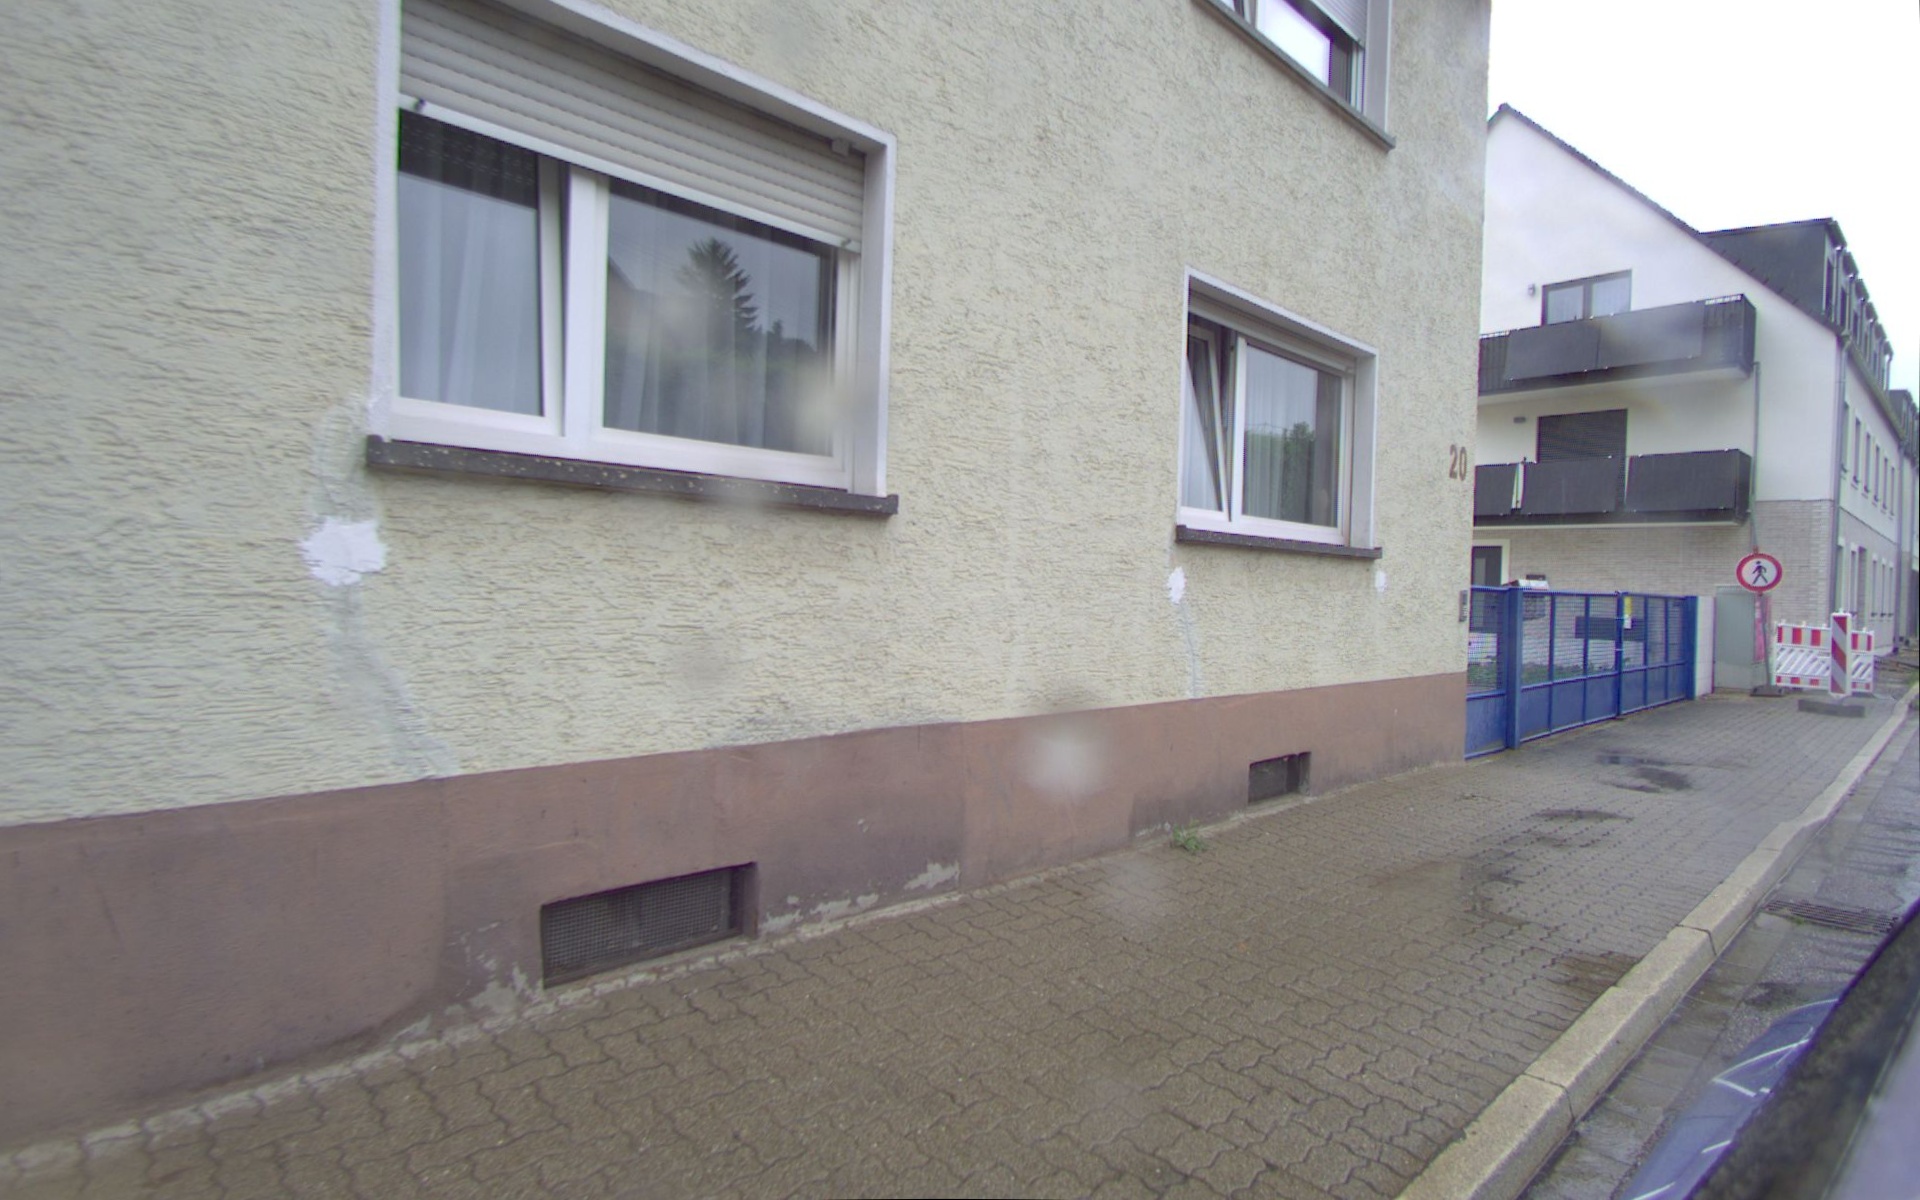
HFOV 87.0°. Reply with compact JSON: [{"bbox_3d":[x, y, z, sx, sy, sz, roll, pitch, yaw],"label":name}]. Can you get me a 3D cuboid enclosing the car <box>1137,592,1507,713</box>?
[{"bbox_3d":[4.575,0.636,13.240,1.880,1.319,4.147,0,-2,-43],"label":"car"}]
